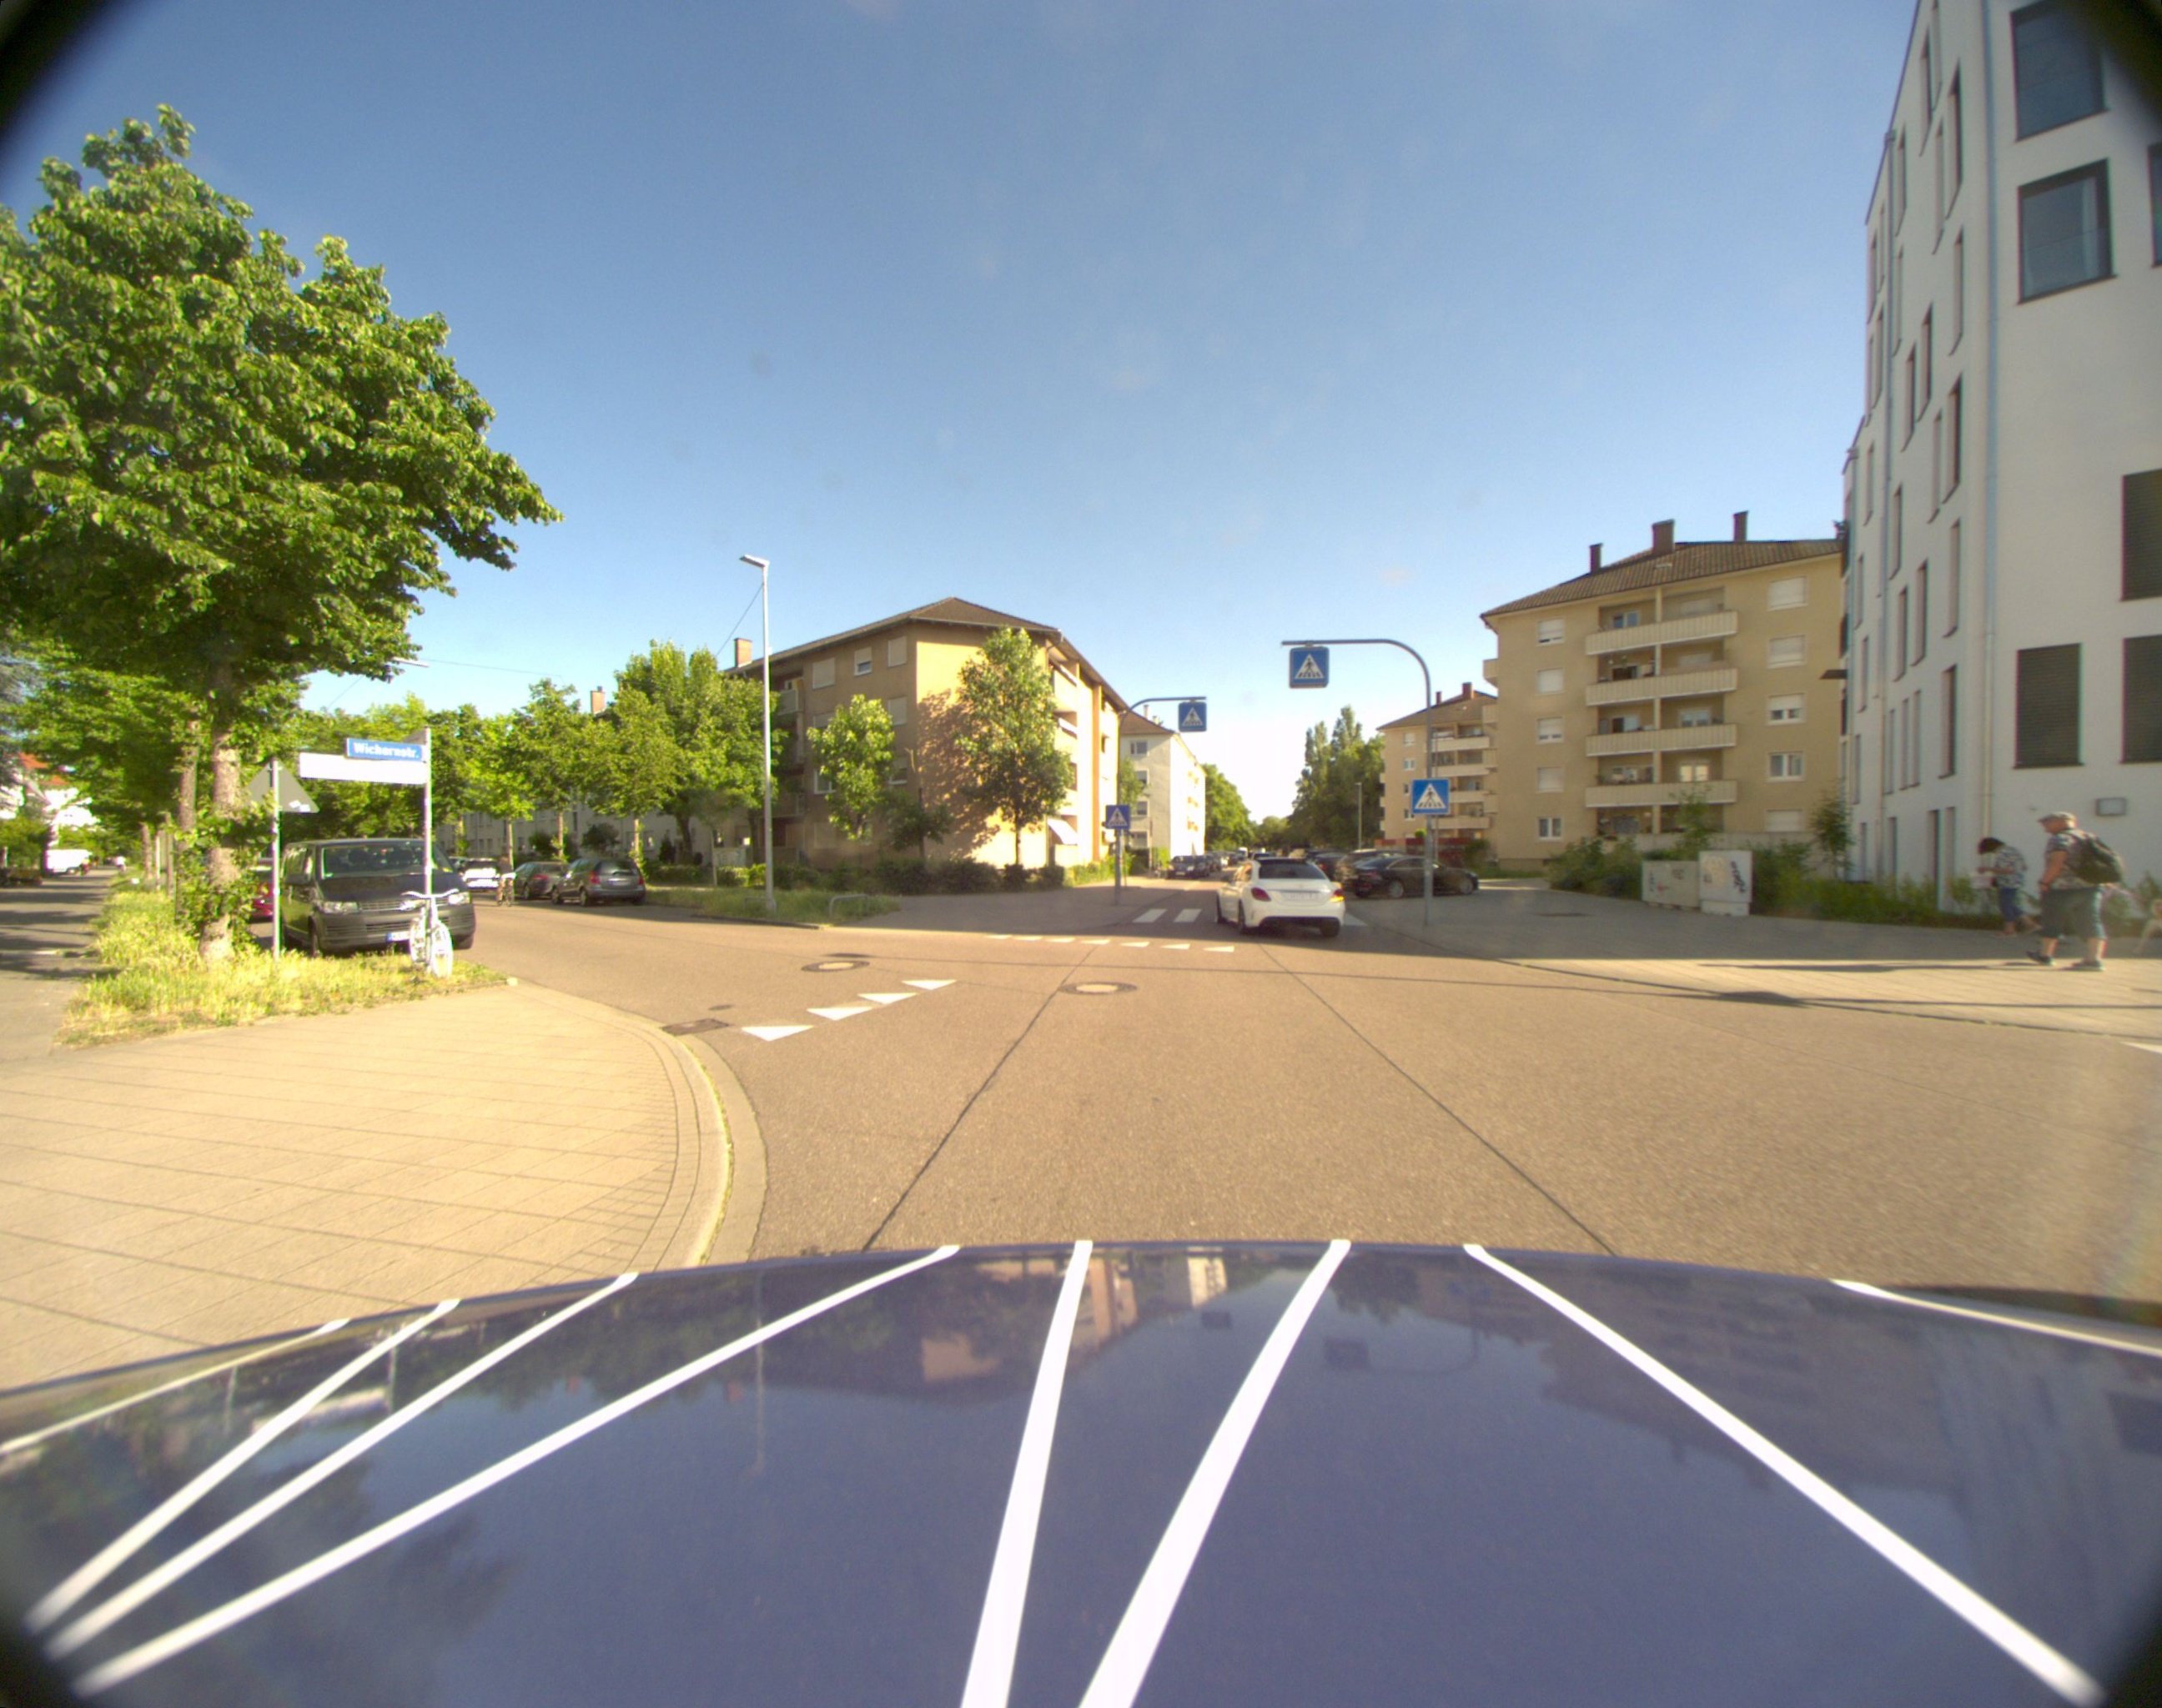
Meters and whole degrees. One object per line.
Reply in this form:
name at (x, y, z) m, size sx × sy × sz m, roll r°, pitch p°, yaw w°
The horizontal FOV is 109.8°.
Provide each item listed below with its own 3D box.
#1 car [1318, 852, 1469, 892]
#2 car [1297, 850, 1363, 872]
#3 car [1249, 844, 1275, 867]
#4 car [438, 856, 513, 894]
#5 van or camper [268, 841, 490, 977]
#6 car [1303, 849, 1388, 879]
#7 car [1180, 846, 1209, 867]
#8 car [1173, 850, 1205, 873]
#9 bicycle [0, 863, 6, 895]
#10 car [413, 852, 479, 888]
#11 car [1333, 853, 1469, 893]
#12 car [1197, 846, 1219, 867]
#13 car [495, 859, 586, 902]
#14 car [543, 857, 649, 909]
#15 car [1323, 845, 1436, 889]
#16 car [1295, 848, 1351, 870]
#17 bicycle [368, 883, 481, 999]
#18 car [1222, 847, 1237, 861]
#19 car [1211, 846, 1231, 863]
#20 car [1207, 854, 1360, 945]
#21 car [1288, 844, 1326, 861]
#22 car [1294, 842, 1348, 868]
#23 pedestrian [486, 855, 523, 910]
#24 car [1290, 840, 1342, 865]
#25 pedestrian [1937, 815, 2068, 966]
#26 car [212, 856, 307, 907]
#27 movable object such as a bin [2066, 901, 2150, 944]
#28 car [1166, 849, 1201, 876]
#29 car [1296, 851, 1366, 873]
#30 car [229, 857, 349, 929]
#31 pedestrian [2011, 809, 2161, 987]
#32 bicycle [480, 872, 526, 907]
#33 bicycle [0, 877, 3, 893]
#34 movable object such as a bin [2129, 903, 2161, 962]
car at (10.824, 0.579, 26.422) m, size 4.566 × 1.160 × 1.997 m, roll -2°, pitch 0°, yaw -16°
car at (17.757, 0.485, 54.181) m, size 4.001 × 1.248 × 1.997 m, roll -4°, pitch 3°, yaw -13°
car at (13.883, 0.091, 58.372) m, size 1.740 × 1.522 × 4.115 m, roll -1°, pitch 3°, yaw 10°
car at (-27.606, 0.900, 34.598) m, size 3.988 × 1.518 × 1.725 m, roll 1°, pitch 4°, yaw 38°
van or camper at (-12.383, 0.744, 13.265) m, size 5.370 × 1.853 × 1.999 m, roll 1°, pitch 4°, yaw 39°
car at (14.570, 0.518, 41.977) m, size 4.001 × 1.394 × 1.997 m, roll -2°, pitch 3°, yaw -11°
car at (9.070, 0.192, 60.674) m, size 1.997 × 1.456 × 4.002 m, roll -3°, pitch 2°, yaw 12°
car at (7.203, 0.453, 50.265) m, size 1.997 × 1.237 × 4.001 m, roll -1°, pitch 3°, yaw 9°
bicycle at (-42.225, 0.974, 29.435) m, size 2.169 × 1.191 × 0.491 m, roll 1°, pitch 4°, yaw 38°
car at (-31.698, 0.758, 37.888) m, size 4.211 × 1.670 × 1.713 m, roll 1°, pitch 1°, yaw 39°
car at (12.339, 0.698, 29.371) m, size 4.567 × 1.423 × 1.997 m, roll 0°, pitch 0°, yaw -16°
car at (11.100, 0.148, 66.160) m, size 1.843 × 1.747 × 4.003 m, roll 1°, pitch 1°, yaw 11°
car at (-20.597, 0.947, 28.911) m, size 4.079 × 1.387 × 1.668 m, roll 1°, pitch 4°, yaw 38°
car at (-16.215, 0.902, 25.328) m, size 4.096 × 1.553 × 1.729 m, roll 1°, pitch 1°, yaw 38°
car at (12.502, 0.516, 31.893) m, size 4.003 × 1.642 × 1.997 m, roll -2°, pitch 1°, yaw -18°
car at (19.805, 0.407, 62.278) m, size 3.997 × 1.631 × 1.999 m, roll -1°, pitch 3°, yaw -1°
bicycle at (-7.930, 0.989, 9.145) m, size 2.024 × 1.187 × 0.531 m, roll 1°, pitch 2°, yaw 35°
car at (19.798, 0.018, 101.314) m, size 1.997 × 1.685 × 4.002 m, roll 0°, pitch 2°, yaw 12°
car at (14.986, 0.027, 80.950) m, size 1.997 × 1.685 × 4.002 m, roll 0°, pitch 2°, yaw 12°
car at (3.849, 0.785, 15.339) m, size 1.890 × 1.495 × 4.638 m, roll 2°, pitch 0°, yaw 1°
car at (26.615, -0.233, 89.631) m, size 3.995 × 1.828 × 2.000 m, roll -1°, pitch 3°, yaw 5°
car at (20.442, 0.058, 64.785) m, size 3.999 × 2.003 × 1.998 m, roll -2°, pitch 3°, yaw -5°
pedestrian at (-18.043, 0.857, 23.763) m, size 1.043 × 1.631 × 0.693 m, roll 2°, pitch 4°, yaw 44°
car at (21.278, -0.151, 68.774) m, size 3.999 × 2.003 × 1.998 m, roll -2°, pitch 3°, yaw -8°
pedestrian at (13.574, 0.511, 11.222) m, size 0.775 × 2.108 × 0.958 m, roll -2°, pitch 1°, yaw -8°
car at (-28.443, 0.900, 26.256) m, size 4.579 × 1.558 × 1.941 m, roll 1°, pitch 0°, yaw 39°
movable object such as a bin at (14.698, 0.974, 10.882) m, size 0.273 × 0.538 × 0.684 m, roll -2°, pitch 2°, yaw -31°
car at (6.036, 0.480, 45.062) m, size 1.906 × 1.506 × 4.002 m, roll 0°, pitch 1°, yaw 6°
car at (16.814, 0.514, 51.132) m, size 3.999 × 1.303 × 1.998 m, roll -2°, pitch 2°, yaw -8°
car at (-21.665, 0.959, 20.708) m, size 4.957 × 1.604 × 1.909 m, roll 1°, pitch 2°, yaw 40°
pedestrian at (11.288, 0.444, 8.513) m, size 0.789 × 1.875 × 0.848 m, roll 0°, pitch 4°, yaw 29°
bicycle at (-18.057, 1.095, 23.722) m, size 1.913 × 1.006 × 0.551 m, roll 1°, pitch 2°, yaw 35°
bicycle at (-44.309, 1.059, 30.846) m, size 2.242 × 1.007 × 0.434 m, roll 1°, pitch 7°, yaw 37°
movable object such as a bin at (13.367, 0.953, 9.283) m, size 0.849 × 0.676 × 0.272 m, roll -1°, pitch 2°, yaw -7°
